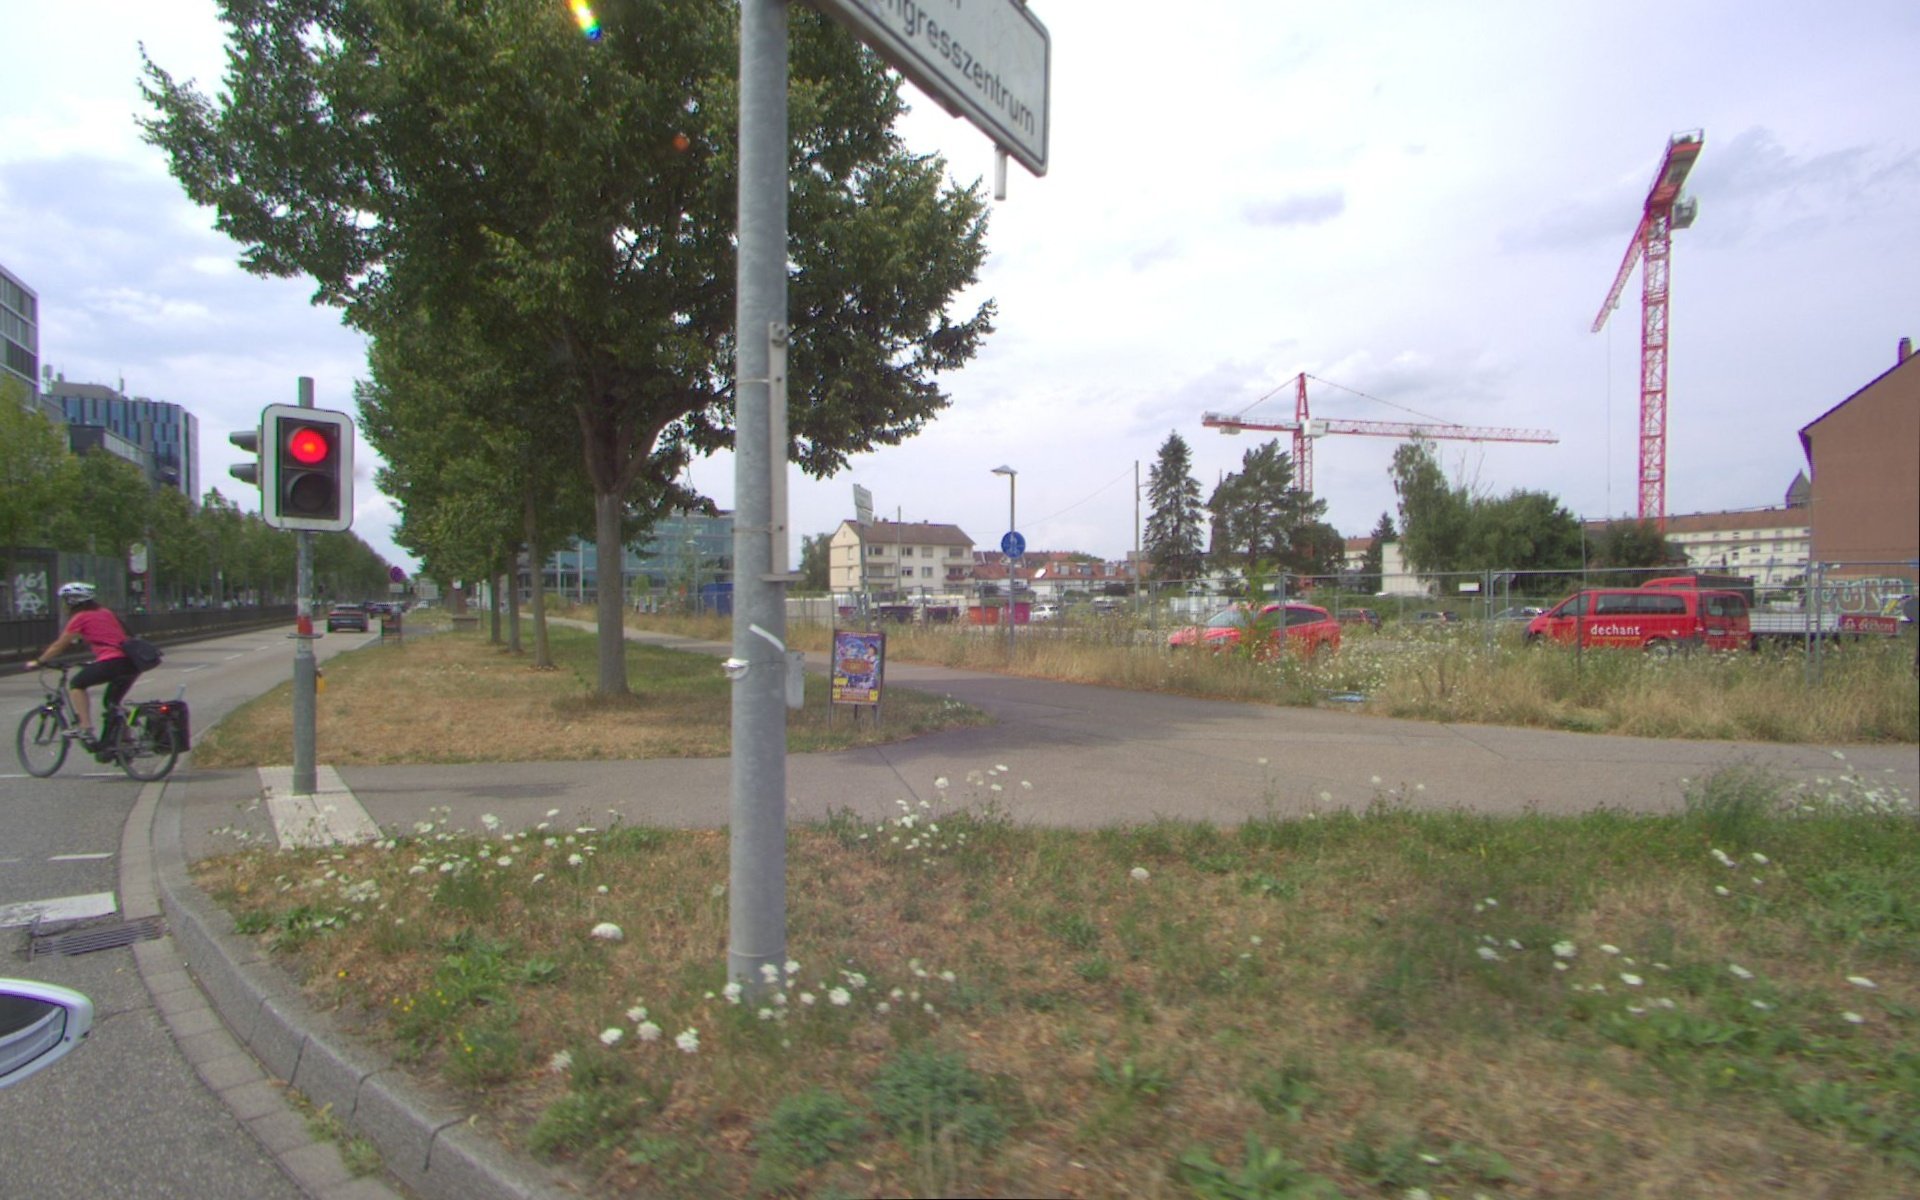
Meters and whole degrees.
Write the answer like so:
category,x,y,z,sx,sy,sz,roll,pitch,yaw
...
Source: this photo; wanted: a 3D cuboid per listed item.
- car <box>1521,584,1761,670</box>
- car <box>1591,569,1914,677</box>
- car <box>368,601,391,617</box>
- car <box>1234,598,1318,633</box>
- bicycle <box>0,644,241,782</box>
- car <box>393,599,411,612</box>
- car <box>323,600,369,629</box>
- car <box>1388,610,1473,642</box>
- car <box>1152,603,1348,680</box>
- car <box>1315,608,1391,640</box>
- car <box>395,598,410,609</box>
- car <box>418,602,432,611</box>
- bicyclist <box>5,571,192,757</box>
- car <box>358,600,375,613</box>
category,x,y,z,sx,sy,sz,roll,pitch,yaw
car,17.261,0.652,25.741,1.903,1.935,4.979,3,-1,-17
car,20.281,0.532,26.207,2.277,2.444,6.531,0,0,-15
car,-55.258,0.861,95.333,1.715,1.539,4.128,0,0,-27
car,20.091,0.946,63.787,2.120,2.164,4.877,0,0,-34
bicycle,-7.944,1.018,9.275,2.001,1.183,0.791,0,1,1
car,-65.737,0.624,118.033,1.804,1.482,4.237,0,0,-30
car,-35.304,0.809,57.673,2.034,1.571,4.452,0,0,-29
car,25.604,1.391,54.585,1.774,1.623,3.997,0,0,-26
car,6.508,0.846,22.292,4.470,1.553,1.777,0,0,-35
car,23.114,1.391,59.016,1.829,1.772,3.996,0,0,-26
car,-77.920,0.436,139.939,1.776,1.517,4.095,0,0,-30
car,-99.949,1.137,187.020,1.968,1.639,4.734,0,0,-25
bicyclist,-7.939,0.571,9.271,1.028,1.649,0.791,0,1,0
car,-74.134,0.848,125.105,1.708,1.554,4.348,0,0,-30
